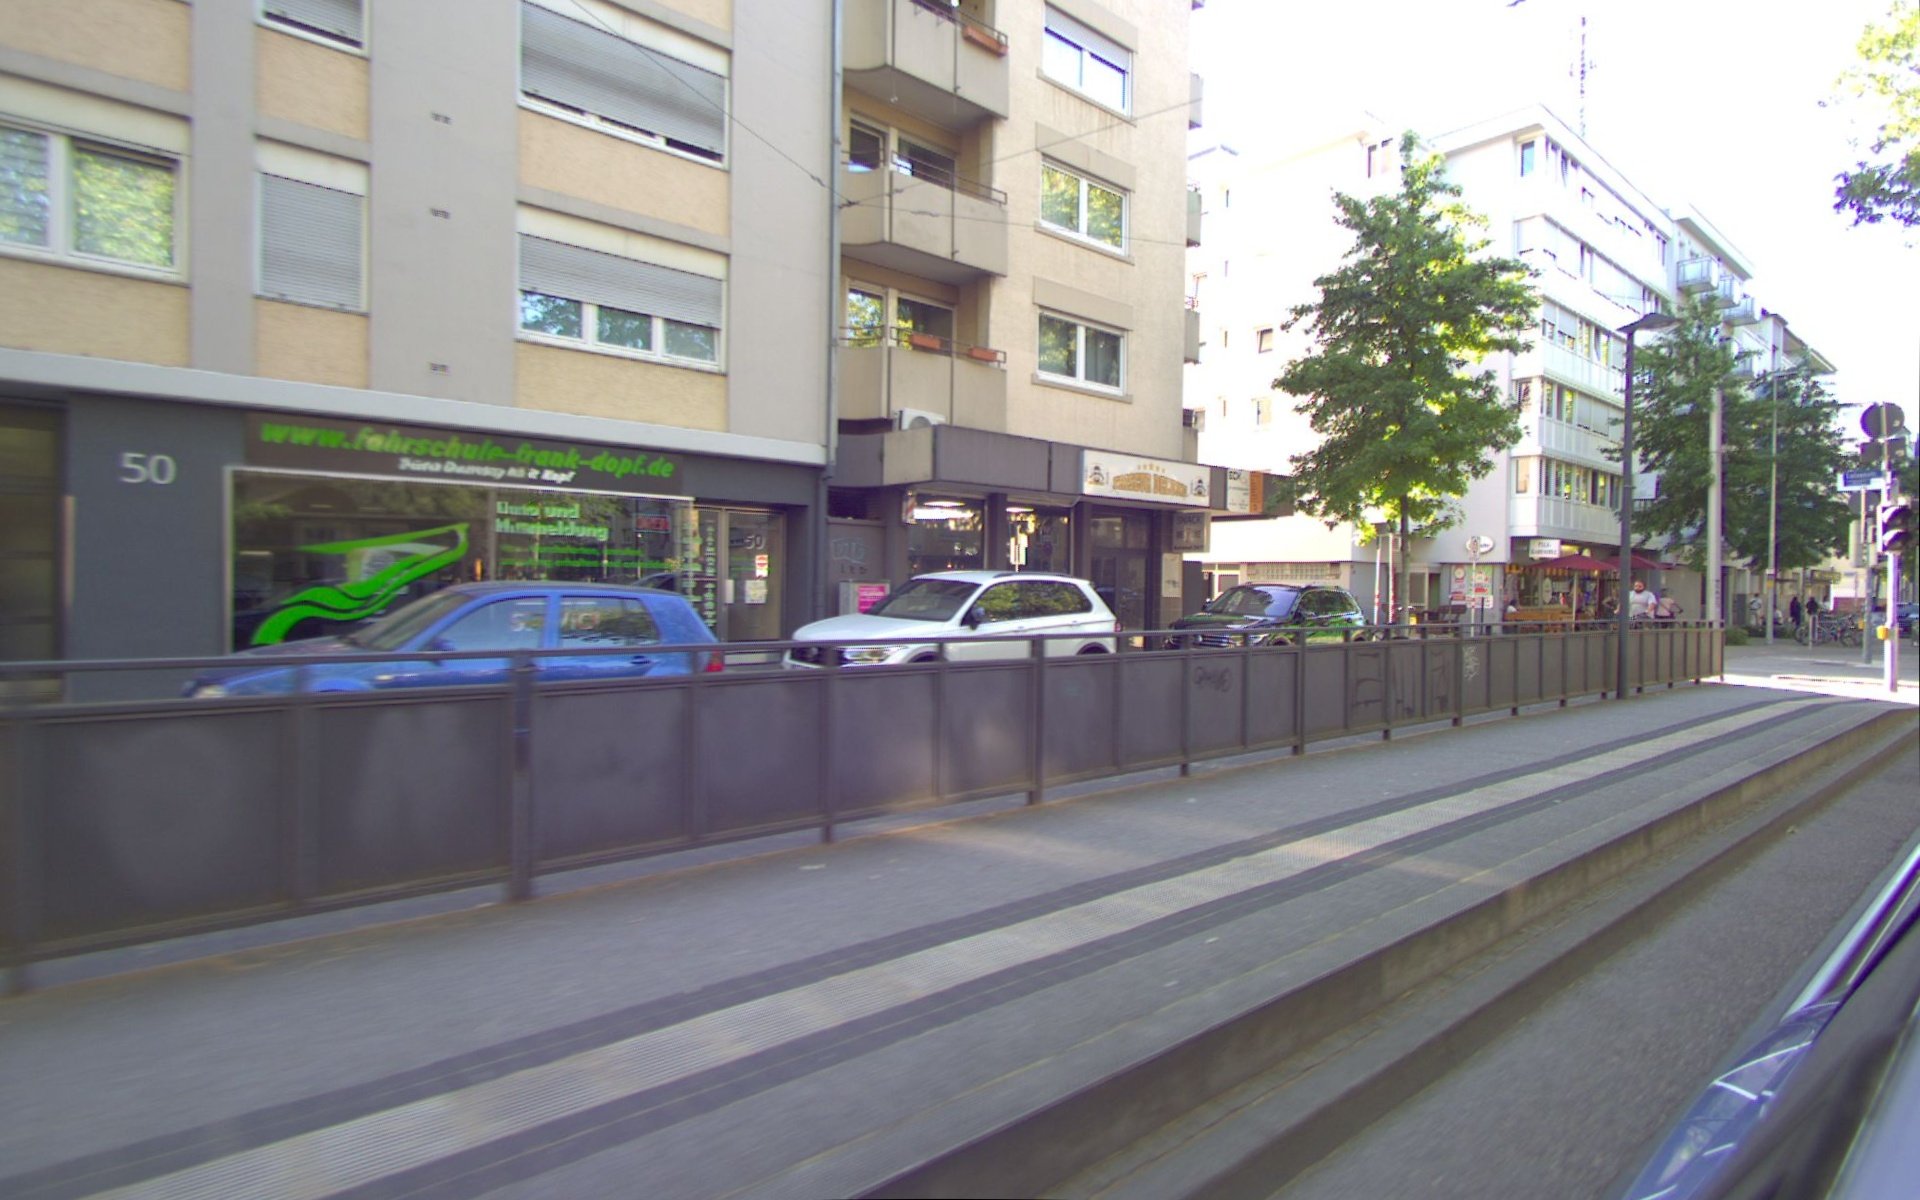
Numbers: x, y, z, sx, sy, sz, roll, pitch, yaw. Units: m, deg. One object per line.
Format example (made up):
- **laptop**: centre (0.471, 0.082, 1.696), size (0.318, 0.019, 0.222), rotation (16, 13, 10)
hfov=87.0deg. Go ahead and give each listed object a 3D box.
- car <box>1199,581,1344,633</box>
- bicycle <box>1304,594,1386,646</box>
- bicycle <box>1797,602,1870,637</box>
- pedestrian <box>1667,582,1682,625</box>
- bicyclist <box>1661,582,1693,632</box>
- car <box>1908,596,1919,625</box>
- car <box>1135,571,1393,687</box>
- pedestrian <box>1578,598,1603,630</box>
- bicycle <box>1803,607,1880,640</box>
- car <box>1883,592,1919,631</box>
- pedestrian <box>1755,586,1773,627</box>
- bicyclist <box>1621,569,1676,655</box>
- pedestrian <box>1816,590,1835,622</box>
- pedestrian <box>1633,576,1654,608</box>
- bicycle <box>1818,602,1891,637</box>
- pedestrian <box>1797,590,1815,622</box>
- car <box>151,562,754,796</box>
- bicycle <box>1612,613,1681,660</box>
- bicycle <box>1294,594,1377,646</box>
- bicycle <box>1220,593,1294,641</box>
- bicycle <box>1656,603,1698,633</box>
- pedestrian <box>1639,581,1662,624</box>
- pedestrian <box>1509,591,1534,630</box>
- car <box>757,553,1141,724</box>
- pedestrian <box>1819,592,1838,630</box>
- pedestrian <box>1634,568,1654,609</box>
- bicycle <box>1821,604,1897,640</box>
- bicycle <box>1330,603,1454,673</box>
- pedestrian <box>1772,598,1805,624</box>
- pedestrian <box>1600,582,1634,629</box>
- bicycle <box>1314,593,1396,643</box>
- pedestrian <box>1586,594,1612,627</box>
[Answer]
- **car**: centre (10.356, 0.189, 33.869), size (1.933, 1.612, 4.255), rotation (-2, 2, -41)
- **bicycle**: centre (9.844, 0.490, 25.946), size (0.502, 1.223, 1.916), rotation (2, 0, -44)
- **bicycle**: centre (29.674, 0.648, 34.392), size (0.516, 1.114, 1.818), rotation (0, 1, -41)
- **pedestrian**: centre (30.552, 0.148, 43.263), size (0.481, 1.819, 0.432), rotation (0, 0, -42)
- **bicyclist**: centre (25.046, 0.231, 35.342), size (0.948, 1.739, 0.678), rotation (0, 0, -39)
- **car**: centre (51.304, 0.567, 53.396), size (3.825, 1.500, 1.624), rotation (0, 3, -44)
- **car**: centre (5.029, 0.380, 16.469), size (4.367, 1.636, 1.997), rotation (-1, 1, -41)
- **pedestrian**: centre (22.228, 0.486, 35.685), size (0.513, 1.092, 0.642), rotation (0, 0, -42)
- **bicycle**: centre (28.188, 0.744, 32.378), size (0.473, 1.007, 1.817), rotation (0, 0, -42)
- **car**: centre (43.200, 0.514, 45.651), size (4.254, 1.606, 1.763), rotation (0, 5, -42)
- **pedestrian**: centre (35.817, 0.273, 45.083), size (0.590, 1.806, 0.980), rotation (0, 0, 41)
- **bicyclist**: centre (15.326, 0.250, 22.531), size (1.080, 1.854, 0.768), rotation (0, 0, -41)
- **pedestrian**: centre (46.523, 0.302, 54.400), size (0.855, 1.658, 0.643), rotation (0, 2, -43)
- **pedestrian**: centre (27.896, -0.310, 41.333), size (0.501, 1.292, 0.624), rotation (0, 0, 12)
- **bicycle**: centre (29.521, 0.631, 33.428), size (1.814, 1.114, 0.474), rotation (0, 0, 42)
- **pedestrian**: centre (45.966, 0.296, 54.992), size (0.919, 1.698, 0.597), rotation (0, 3, -43)
- **car**: centre (-3.977, 0.465, 8.344), size (4.172, 1.458, 1.747), rotation (-1, 1, -41)
- **bicycle**: centre (15.274, 0.793, 22.499), size (1.905, 0.949, 0.790), rotation (-1, 0, -41)
- **bicycle**: centre (9.464, 0.493, 25.583), size (0.502, 1.223, 1.916), rotation (1, 1, -44)
- **bicycle**: centre (7.920, 0.438, 27.055), size (0.502, 1.223, 1.915), rotation (0, 0, -44)
- **bicycle**: centre (25.038, 0.613, 35.317), size (1.985, 0.975, 0.678), rotation (-1, 0, -39)
- **pedestrian**: centre (29.297, 0.107, 42.958), size (0.620, 1.828, 0.526), rotation (0, 0, 3)
- **pedestrian**: centre (19.313, 0.350, 34.825), size (0.703, 1.303, 0.536), rotation (0, 0, -39)
- **car**: centre (0.006, 0.339, 11.750), size (4.338, 1.626, 1.803), rotation (-1, 1, -41)
- **pedestrian**: centre (43.134, 0.538, 50.273), size (0.530, 1.875, 0.663), rotation (0, 0, -42)
- **pedestrian**: centre (27.879, -0.471, 41.231), size (0.500, 1.649, 0.516), rotation (0, 0, 12)
- **bicycle**: centre (29.110, 0.713, 32.799), size (1.814, 1.114, 0.490), rotation (0, 0, 42)
- **bicycle**: centre (8.015, 0.674, 18.878), size (0.668, 1.202, 2.134), rotation (0, 0, -32)
- **pedestrian**: centre (33.795, 0.423, 41.282), size (0.998, 1.040, 0.651), rotation (0, 0, 43)
- **pedestrian**: centre (23.967, 0.203, 36.931), size (0.665, 1.680, 0.816), rotation (0, 0, -20)
- **bicycle**: centre (10.254, 0.457, 26.335), size (0.502, 1.223, 1.916), rotation (2, 0, -44)
- **pedestrian**: centre (23.094, 0.365, 36.577), size (0.513, 1.190, 0.659), rotation (0, 0, -42)
